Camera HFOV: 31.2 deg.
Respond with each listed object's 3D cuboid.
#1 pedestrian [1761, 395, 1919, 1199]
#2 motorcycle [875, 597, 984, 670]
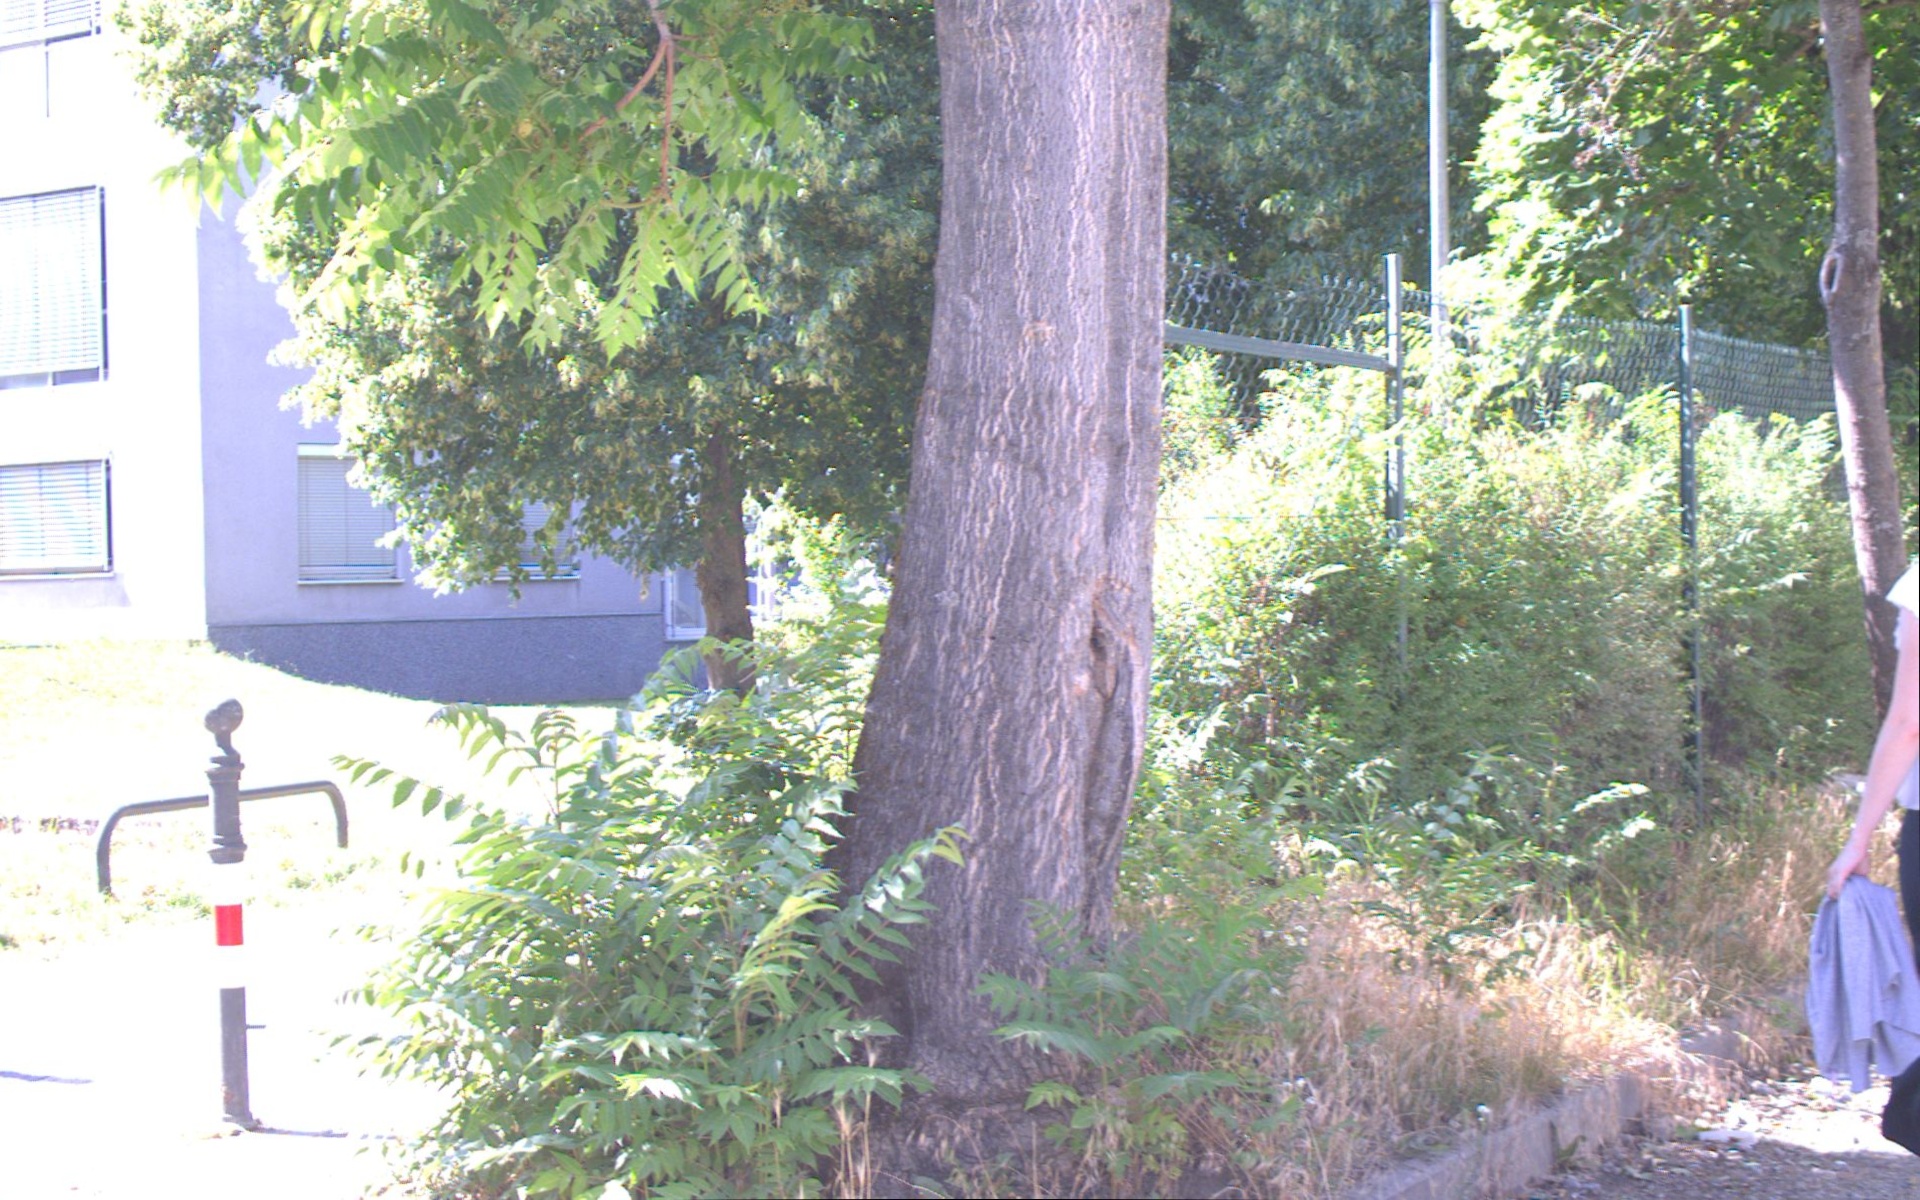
[{"bbox_3d":[1.881,0.444,6.376,0.736,1.634,0.781,-1,2,12],"label":"pedestrian"},{"bbox_3d":[-0.537,0.580,60.814,0.629,1.242,2.057,0,1,45],"label":"motorcycle"}]
